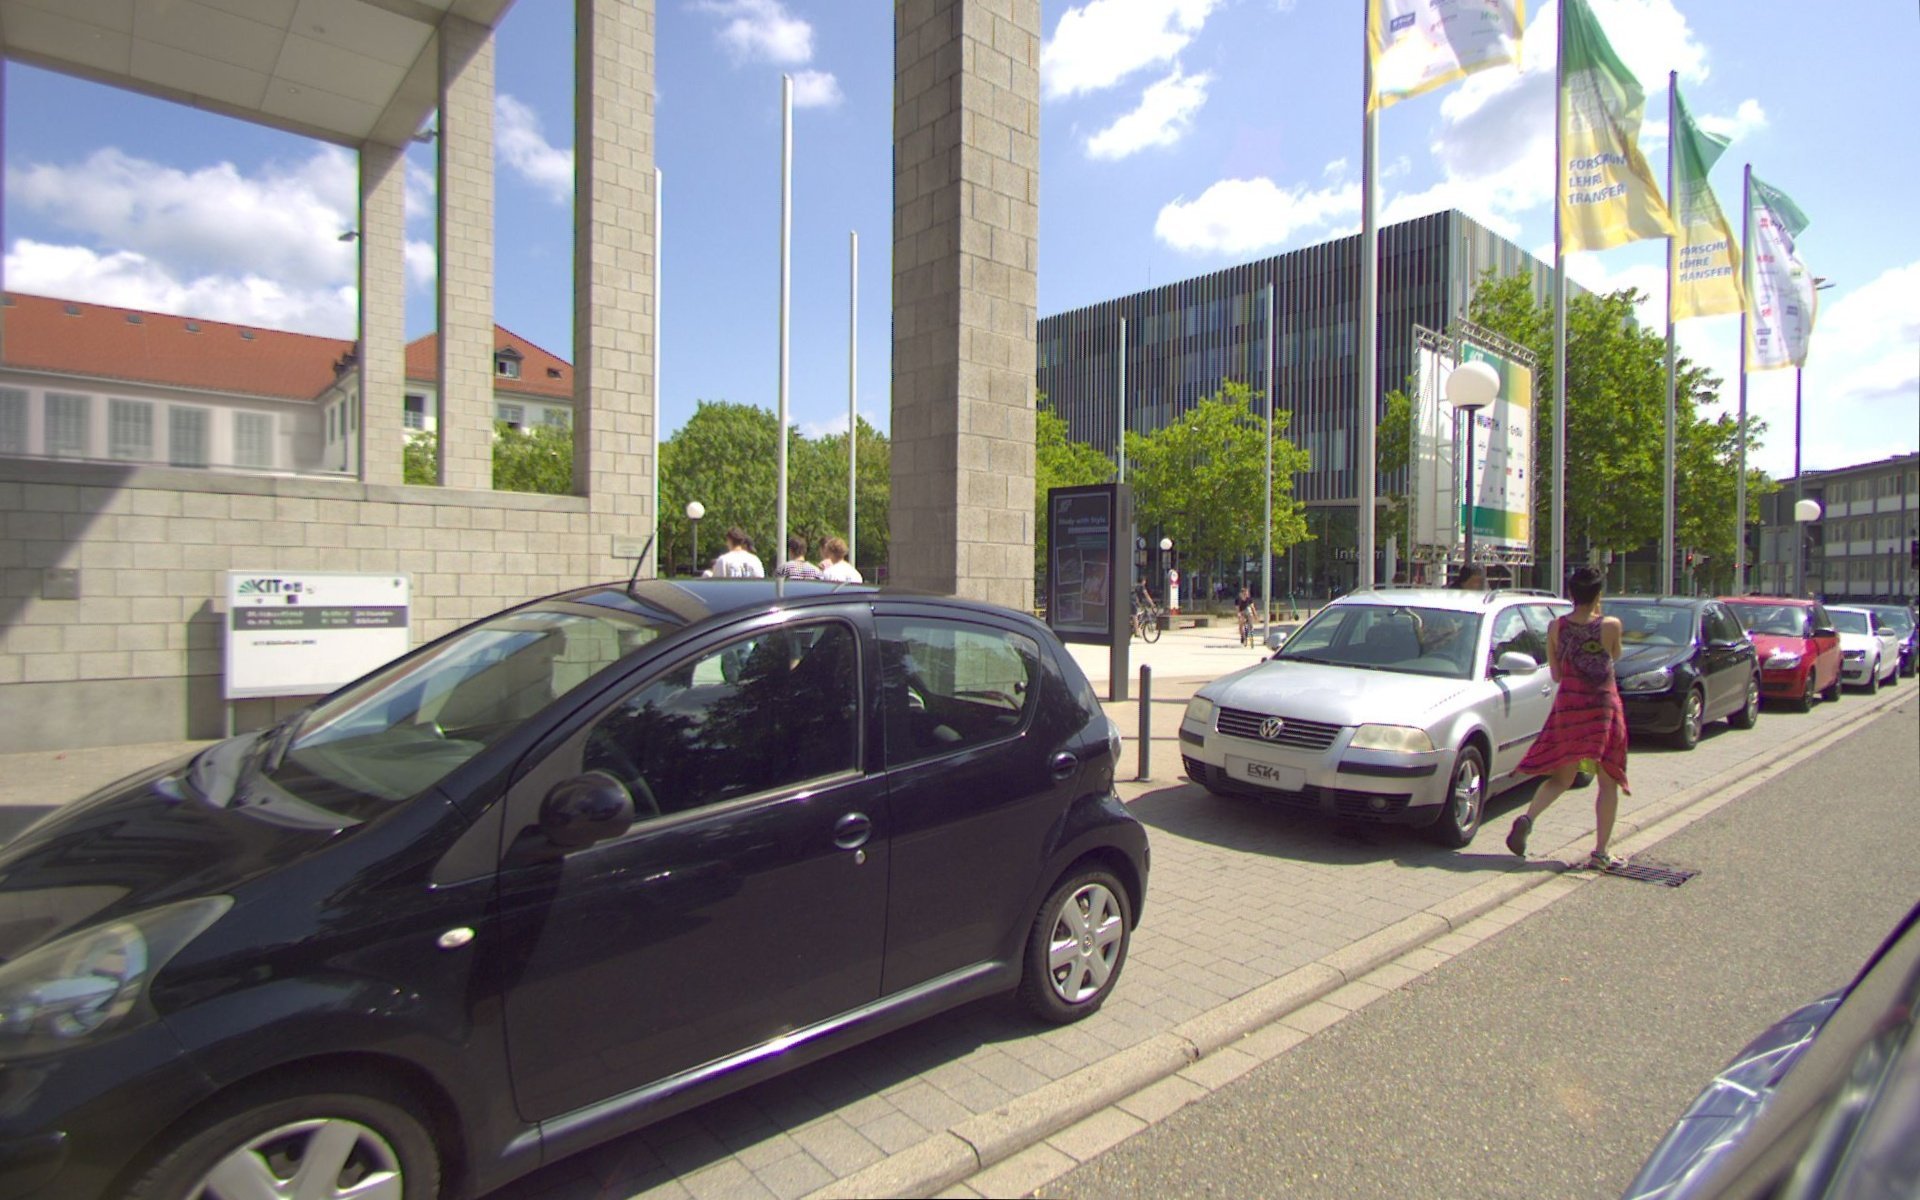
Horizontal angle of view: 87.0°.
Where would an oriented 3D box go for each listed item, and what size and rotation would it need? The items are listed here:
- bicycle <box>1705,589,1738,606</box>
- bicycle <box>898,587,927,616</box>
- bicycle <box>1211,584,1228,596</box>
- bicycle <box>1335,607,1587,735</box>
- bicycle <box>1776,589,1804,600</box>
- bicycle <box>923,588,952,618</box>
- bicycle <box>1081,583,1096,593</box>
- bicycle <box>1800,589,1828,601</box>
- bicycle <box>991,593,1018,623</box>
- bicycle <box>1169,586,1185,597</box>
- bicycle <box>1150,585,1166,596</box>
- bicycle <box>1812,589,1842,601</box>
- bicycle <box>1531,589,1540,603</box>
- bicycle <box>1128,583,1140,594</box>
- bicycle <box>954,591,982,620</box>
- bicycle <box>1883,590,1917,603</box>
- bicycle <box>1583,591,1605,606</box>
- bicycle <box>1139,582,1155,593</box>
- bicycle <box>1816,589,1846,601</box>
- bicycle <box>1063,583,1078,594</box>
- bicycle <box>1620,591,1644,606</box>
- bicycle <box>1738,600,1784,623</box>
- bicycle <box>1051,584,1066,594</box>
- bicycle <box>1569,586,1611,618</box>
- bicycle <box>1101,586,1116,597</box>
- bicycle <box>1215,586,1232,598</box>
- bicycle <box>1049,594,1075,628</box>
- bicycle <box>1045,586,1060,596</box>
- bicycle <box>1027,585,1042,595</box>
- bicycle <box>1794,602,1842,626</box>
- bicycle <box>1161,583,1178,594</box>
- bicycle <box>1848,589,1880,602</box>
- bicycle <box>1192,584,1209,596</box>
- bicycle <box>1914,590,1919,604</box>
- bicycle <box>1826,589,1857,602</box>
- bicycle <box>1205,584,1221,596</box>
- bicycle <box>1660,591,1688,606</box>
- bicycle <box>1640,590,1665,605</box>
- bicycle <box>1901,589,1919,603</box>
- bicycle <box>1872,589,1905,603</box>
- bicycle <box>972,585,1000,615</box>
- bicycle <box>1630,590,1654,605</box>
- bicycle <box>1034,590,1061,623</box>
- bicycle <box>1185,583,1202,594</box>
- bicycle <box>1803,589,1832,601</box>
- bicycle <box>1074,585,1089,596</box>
[{"bbox_3d":[45.950,-0.150,61.075,0.518,0.967,1.775,0,2,-3],"label":"bicycle"},{"bbox_3d":[-1.936,0.056,41.331,0.596,1.112,1.758,0,2,18],"label":"bicycle"},{"bbox_3d":[22.430,-0.845,87.535,1.515,0.967,0.374,-2,2,-26],"label":"bicycle"},{"bbox_3d":[5.131,0.664,10.508,0.887,1.092,2.152,0,2,-39],"label":"bicycle"},{"bbox_3d":[73.743,-0.484,89.927,1.752,0.967,0.525,1,3,22],"label":"bicycle"},{"bbox_3d":[-0.852,0.110,38.704,0.596,1.112,1.757,0,1,18],"label":"bicycle"},{"bbox_3d":[12.543,-1.170,99.025,1.755,0.967,0.432,-3,2,-41],"label":"bicycle"},{"bbox_3d":[72.828,-0.451,86.295,1.752,0.967,0.525,1,3,22],"label":"bicycle"},{"bbox_3d":[1.726,0.287,38.734,0.596,1.112,1.757,0,1,18],"label":"bicycle"},{"bbox_3d":[19.400,-0.785,90.541,1.515,0.967,0.374,-2,2,-26],"label":"bicycle"},{"bbox_3d":[18.122,-0.881,92.592,1.515,0.967,0.374,-2,2,-26],"label":"bicycle"},{"bbox_3d":[72.154,-0.412,84.223,1.752,0.967,0.525,1,3,22],"label":"bicycle"},{"bbox_3d":[40.452,-0.302,71.099,0.524,0.967,1.756,1,2,29],"label":"bicycle"},{"bbox_3d":[16.117,-1.048,93.620,0.371,0.967,1.526,0,2,38],"label":"bicycle"},{"bbox_3d":[0.317,0.202,38.840,0.596,1.113,1.757,0,0,18],"label":"bicycle"},{"bbox_3d":[70.540,-0.281,75.973,1.752,0.967,0.525,1,3,22],"label":"bicycle"},{"bbox_3d":[43.989,-0.103,70.271,0.520,0.967,1.771,-3,2,5],"label":"bicycle"},{"bbox_3d":[17.313,-1.123,93.503,1.515,0.967,0.374,-2,2,-26],"label":"bicycle"},{"bbox_3d":[71.793,-0.405,83.411,1.752,0.967,0.525,1,3,22],"label":"bicycle"},{"bbox_3d":[10.971,-1.155,100.682,1.755,0.967,0.432,-3,2,-41],"label":"bicycle"},{"bbox_3d":[46.028,-0.127,69.382,0.519,0.967,1.773,0,2,3],"label":"bicycle"},{"bbox_3d":[40.445,0.584,51.109,1.651,1.138,0.690,0,1,22],"label":"bicycle"},{"bbox_3d":[9.973,-1.091,102.067,1.755,0.967,0.432,-3,2,-41],"label":"bicycle"},{"bbox_3d":[23.825,0.097,38.244,1.858,1.086,0.817,4,-1,-42],"label":"bicycle"},{"bbox_3d":[14.260,-0.809,97.088,1.755,0.967,0.432,-3,2,-41],"label":"bicycle"},{"bbox_3d":[22.685,-0.655,87.012,1.515,0.967,0.374,-2,2,-26],"label":"bicycle"},{"bbox_3d":[3.654,0.373,36.146,0.596,1.112,1.758,0,2,18],"label":"bicycle"},{"bbox_3d":[9.370,-0.955,102.712,1.755,0.967,0.432,-3,2,-41],"label":"bicycle"},{"bbox_3d":[7.663,-1.018,104.689,1.755,0.967,0.432,-3,2,-41],"label":"bicycle"},{"bbox_3d":[42.662,0.708,50.339,1.653,1.138,0.689,1,1,25],"label":"bicycle"},{"bbox_3d":[18.883,-1.042,91.190,1.515,0.967,0.374,-2,2,-26],"label":"bicycle"},{"bbox_3d":[71.087,-0.339,79.573,1.752,0.967,0.525,1,3,22],"label":"bicycle"},{"bbox_3d":[21.119,-0.874,88.878,1.515,0.967,0.374,-2,2,-26],"label":"bicycle"},{"bbox_3d":[69.605,-0.215,72.507,1.754,0.967,0.525,1,3,24],"label":"bicycle"},{"bbox_3d":[71.528,-0.363,82.129,1.752,0.967,0.525,1,3,22],"label":"bicycle"},{"bbox_3d":[22.020,-0.876,88.089,1.515,0.967,0.374,-2,2,-26],"label":"bicycle"},{"bbox_3d":[48.740,-0.097,69.088,0.518,0.967,1.775,0,2,-3],"label":"bicycle"},{"bbox_3d":[47.410,-0.156,69.302,0.519,0.967,1.773,0,2,3],"label":"bicycle"},{"bbox_3d":[69.874,-0.276,73.795,1.752,0.967,0.525,1,3,22],"label":"bicycle"},{"bbox_3d":[70.844,-0.300,77.260,1.752,0.967,0.525,1,3,22],"label":"bicycle"},{"bbox_3d":[0.986,-0.012,38.526,0.596,1.112,1.757,1,1,18],"label":"bicycle"},{"bbox_3d":[46.733,-0.161,69.338,0.519,0.967,1.773,0,2,3],"label":"bicycle"},{"bbox_3d":[3.225,0.228,36.996,0.596,1.112,1.758,0,2,18],"label":"bicycle"},{"bbox_3d":[20.568,-1.012,89.142,1.515,0.967,0.374,-2,2,-26],"label":"bicycle"},{"bbox_3d":[72.617,-0.460,85.675,1.752,0.967,0.525,1,3,22],"label":"bicycle"},{"bbox_3d":[11.951,-0.943,99.697,1.755,0.967,0.432,-3,2,-41],"label":"bicycle"}]
